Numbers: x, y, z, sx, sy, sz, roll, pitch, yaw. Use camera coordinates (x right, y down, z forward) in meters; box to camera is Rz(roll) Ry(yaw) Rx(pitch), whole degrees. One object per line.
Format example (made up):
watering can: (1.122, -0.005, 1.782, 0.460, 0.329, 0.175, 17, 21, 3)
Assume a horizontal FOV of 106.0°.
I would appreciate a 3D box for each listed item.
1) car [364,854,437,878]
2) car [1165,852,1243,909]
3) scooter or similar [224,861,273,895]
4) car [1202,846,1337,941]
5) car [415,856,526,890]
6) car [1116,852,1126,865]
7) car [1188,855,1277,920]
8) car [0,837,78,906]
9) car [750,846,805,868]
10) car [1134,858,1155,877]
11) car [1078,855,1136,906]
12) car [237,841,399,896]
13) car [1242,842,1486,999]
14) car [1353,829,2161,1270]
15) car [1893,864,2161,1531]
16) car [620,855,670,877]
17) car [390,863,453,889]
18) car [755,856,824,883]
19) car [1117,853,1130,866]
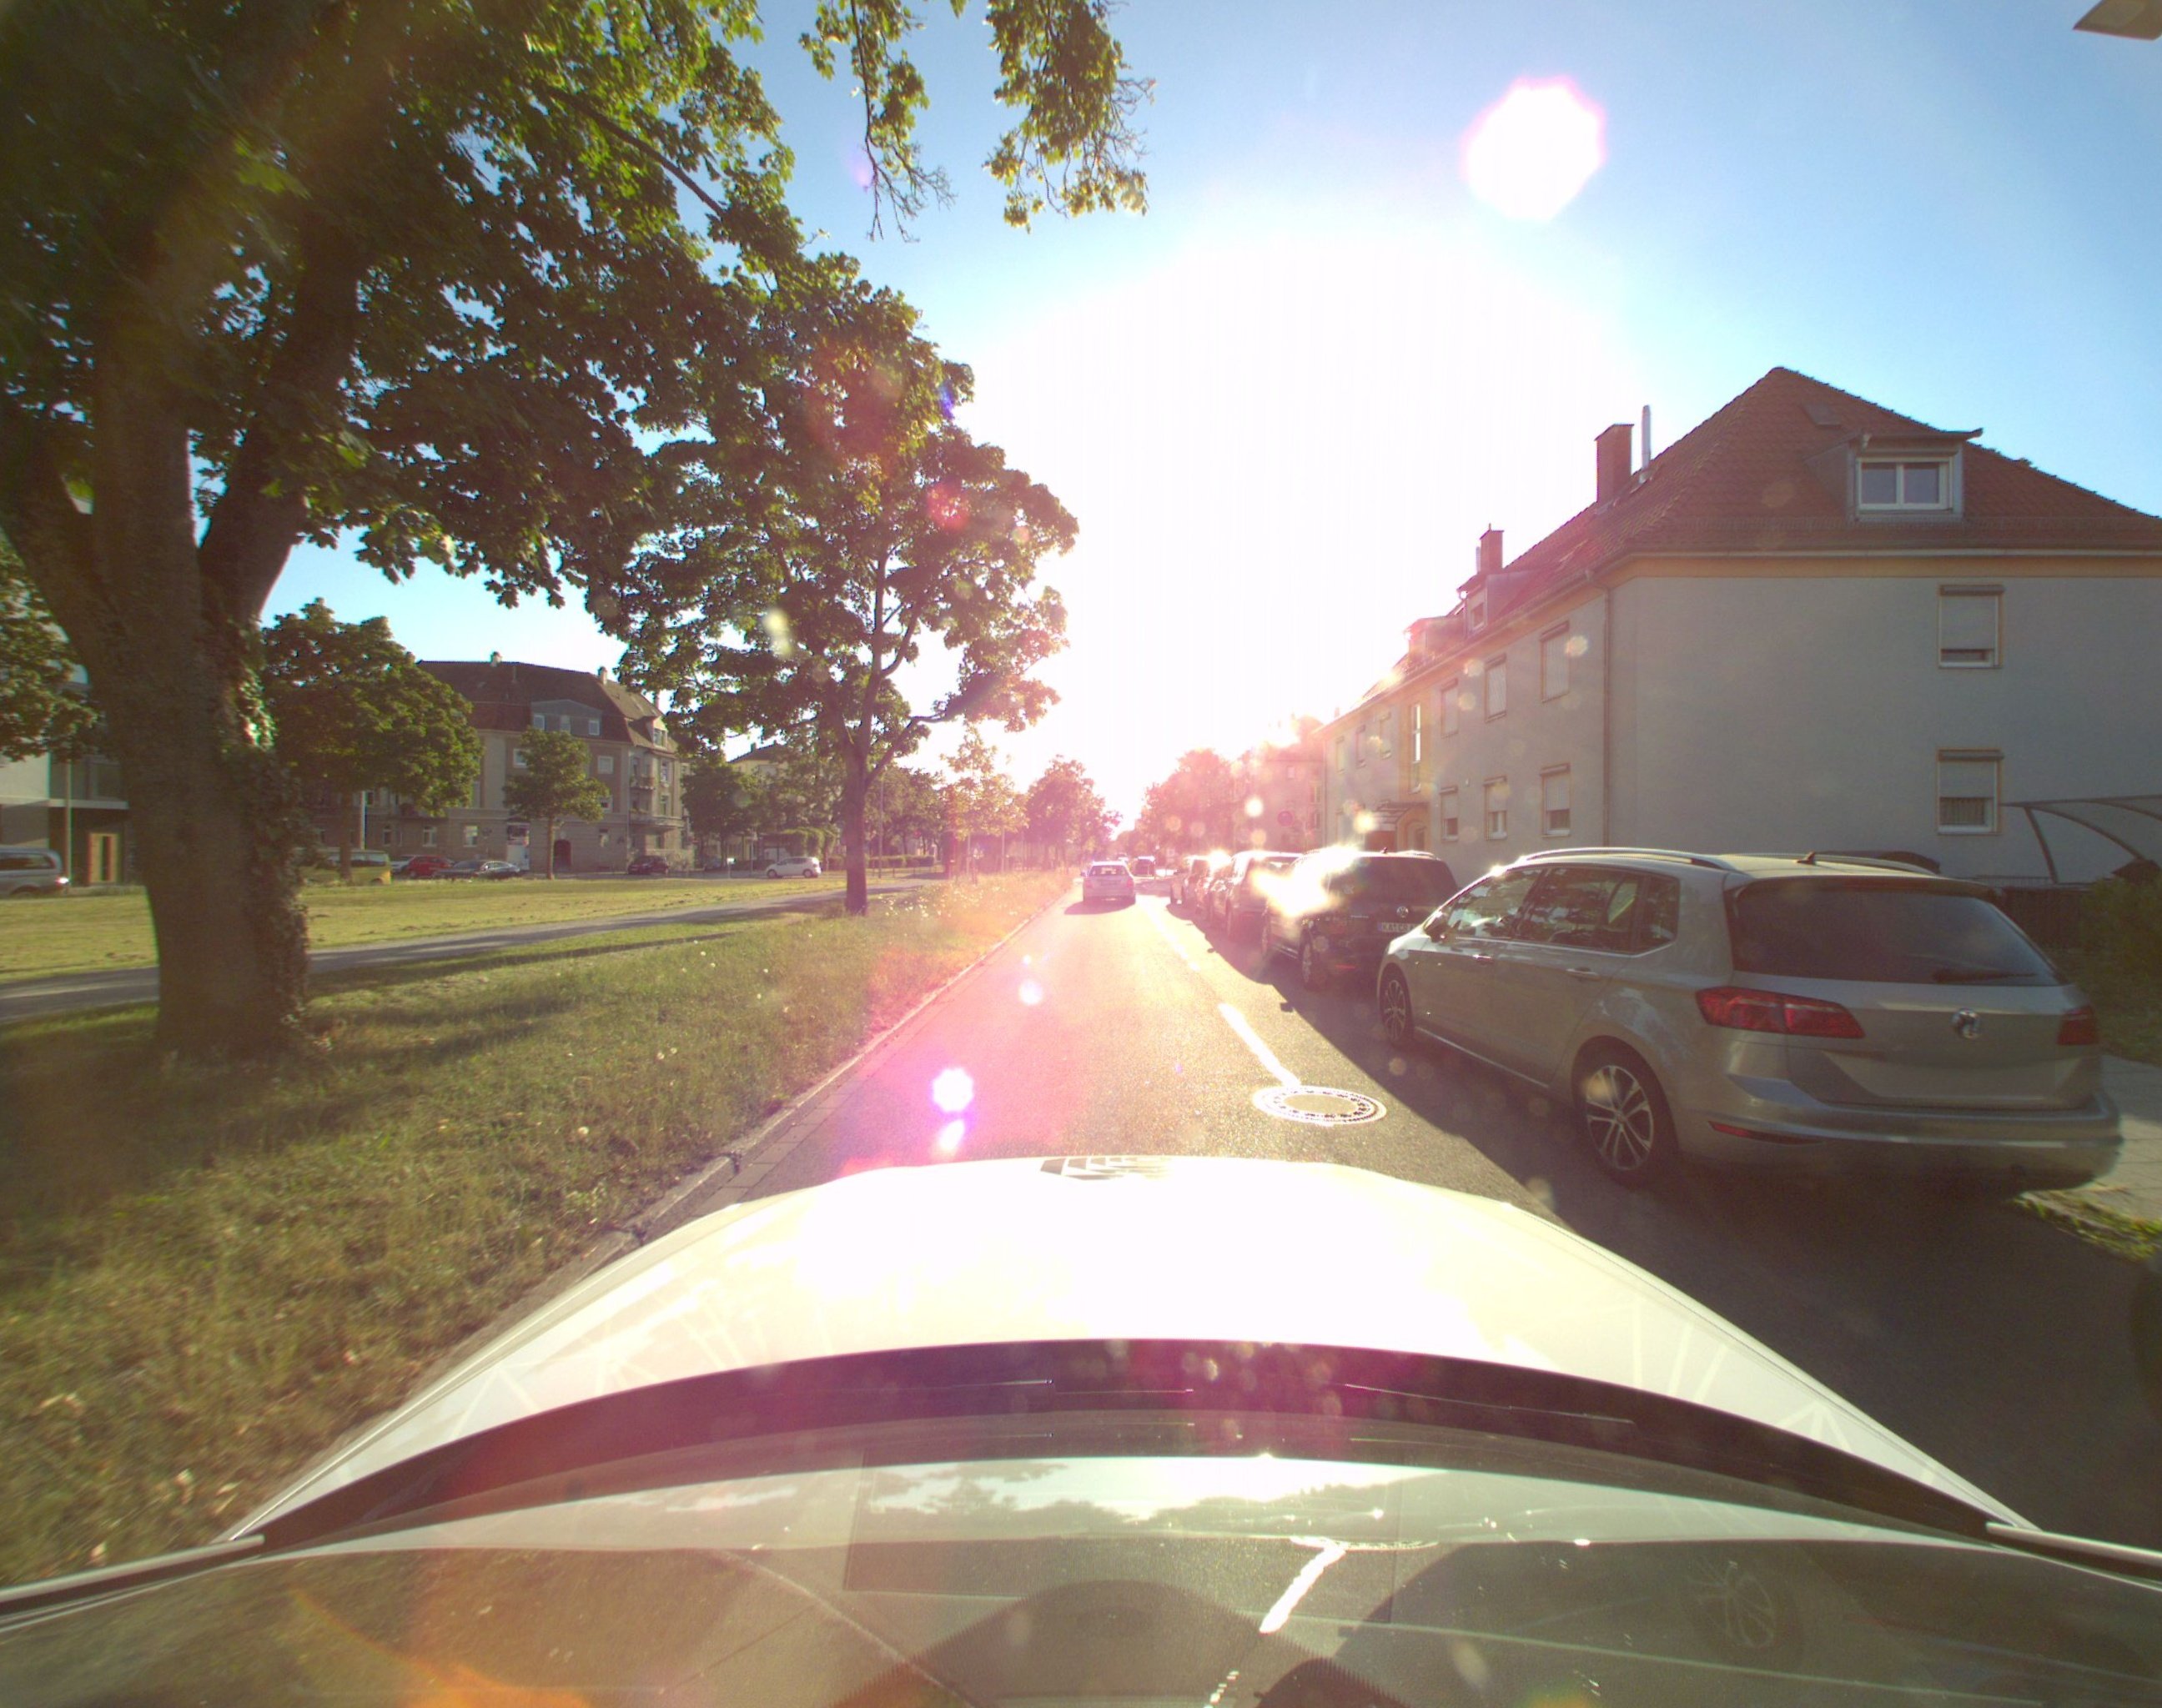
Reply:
car: (-49.797, 0.895, 59.682, 1.689, 1.637, 4.080, -3, -1, 3)
car: (3.930, 0.804, 26.725, 1.712, 1.639, 4.561, 2, 0, -2)
scooter or similar: (-28.456, 0.800, 27.861, 0.391, 1.127, 1.294, 1, -1, -6)
car: (3.623, 0.715, 16.532, 1.770, 1.643, 4.758, 0, -1, 1)
car: (-32.423, 0.997, 43.448, 1.975, 1.637, 4.832, -3, -1, 3)
car: (7.178, 0.785, 146.905, 1.854, 2.193, 5.073, 0, 0, 2)
car: (3.892, 0.803, 21.467, 1.723, 1.526, 3.735, -1, 0, 1)
car: (-33.098, 0.537, 23.367, 2.013, 2.001, 5.367, -3, -1, -1)
car: (-38.290, 0.367, 102.940, 6.332, 2.720, 1.984, 0, 0, -29)
car: (5.468, 1.156, 70.610, 1.715, 1.597, 4.002, 0, -1, 2)
car: (0.912, 0.851, 28.034, 1.816, 1.566, 4.002, -1, 0, 2)
car: (-32.477, 0.630, 34.934, 1.986, 2.057, 5.054, -3, -1, 2)
car: (3.499, 0.746, 11.094, 1.759, 1.635, 4.765, 1, -1, 1)
car: (3.338, 0.710, 5.126, 1.719, 1.561, 4.415, 1, 0, -1)
car: (3.295, 0.784, 0.108, 1.985, 1.462, 4.565, 2, 0, 3)
car: (-36.871, 1.024, 69.018, 1.636, 1.707, 4.297, -3, -1, 3)
car: (-43.339, 1.423, 53.544, 3.554, 1.481, 1.694, 1, 1, 22)
car: (-19.837, 1.079, 55.466, 3.882, 1.596, 1.999, -3, -1, -1)
car: (6.736, 0.915, 128.779, 1.981, 2.023, 4.002, 0, 0, 2)
